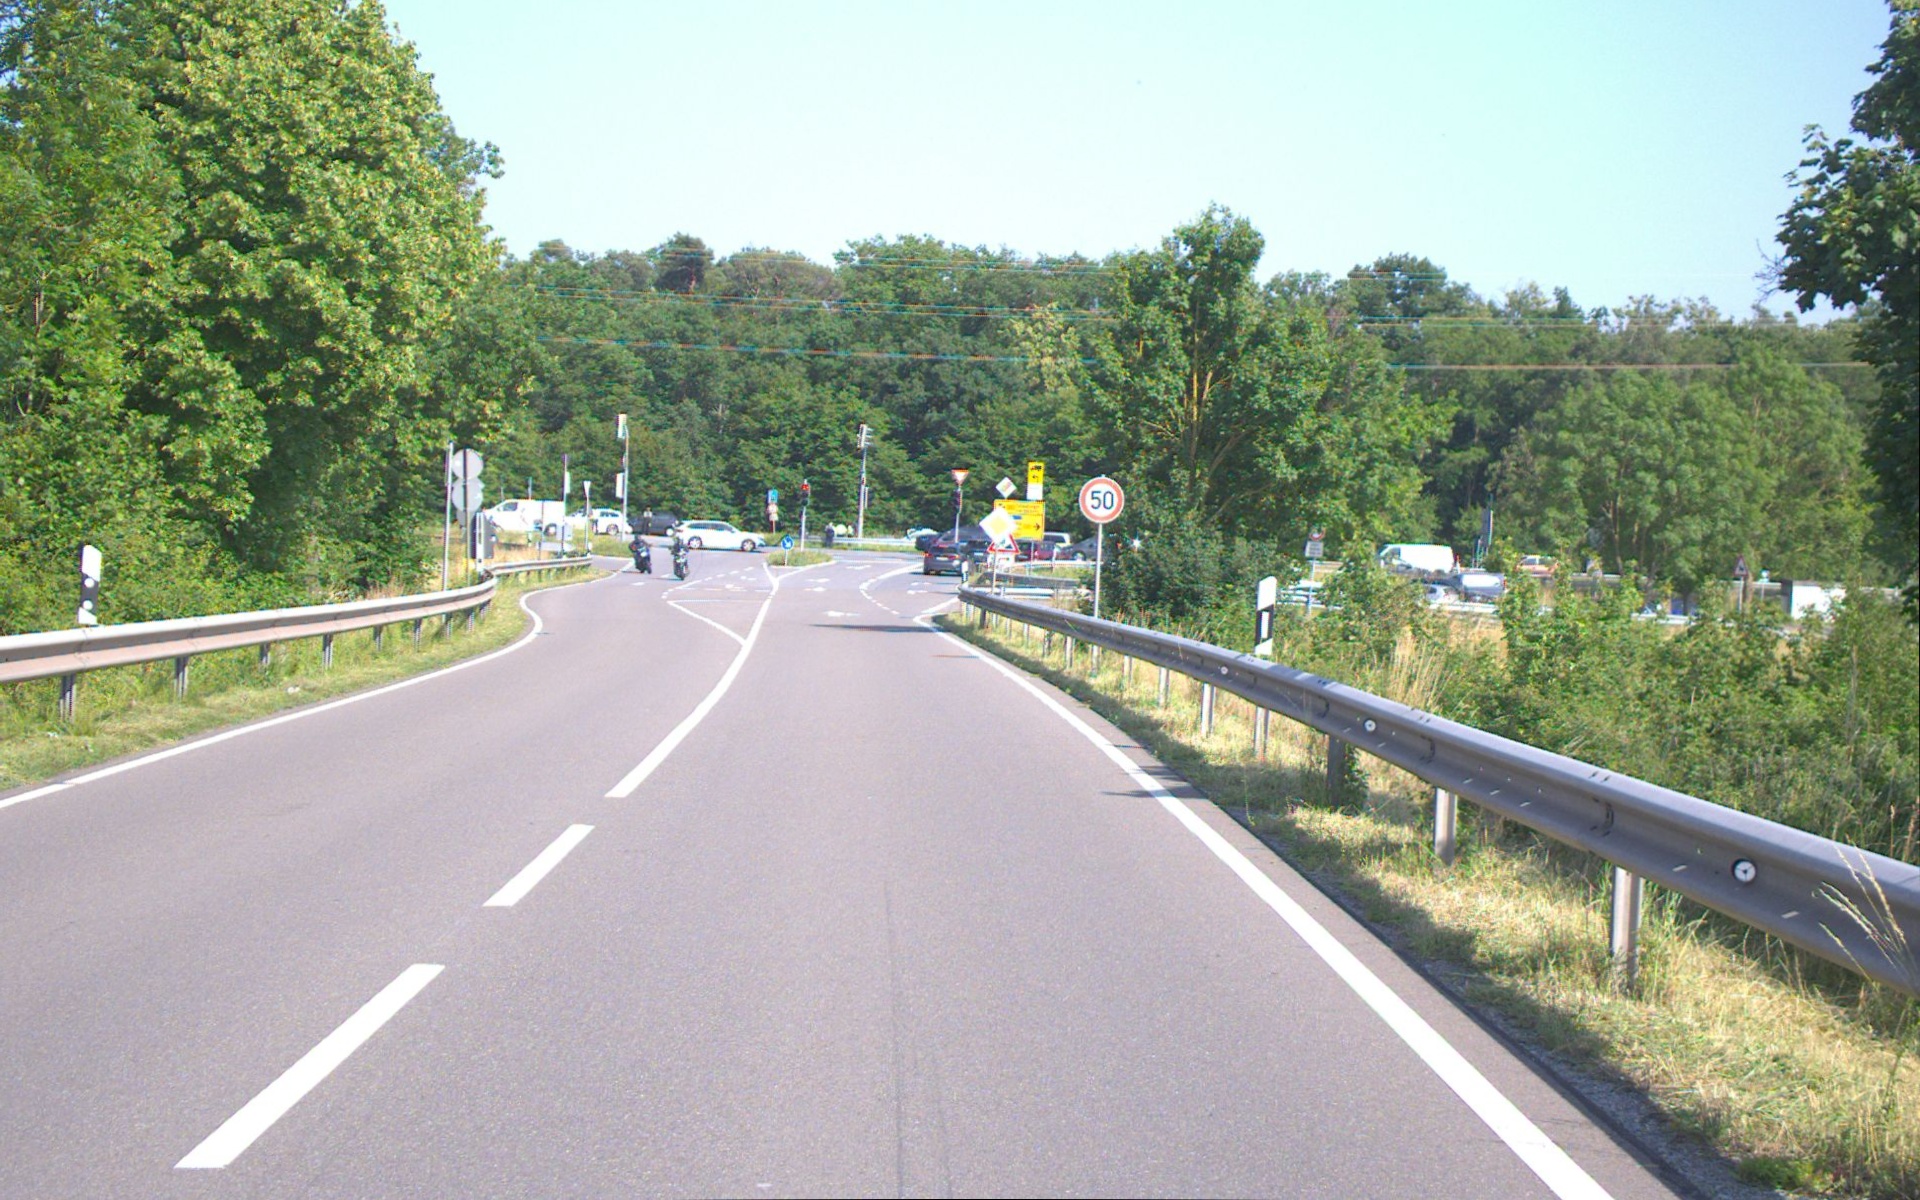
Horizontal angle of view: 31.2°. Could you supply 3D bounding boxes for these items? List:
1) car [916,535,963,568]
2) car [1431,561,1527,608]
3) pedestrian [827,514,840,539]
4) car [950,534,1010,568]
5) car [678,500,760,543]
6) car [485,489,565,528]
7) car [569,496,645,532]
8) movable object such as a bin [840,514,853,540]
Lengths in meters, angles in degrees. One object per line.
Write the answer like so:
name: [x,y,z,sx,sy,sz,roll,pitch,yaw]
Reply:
car: [-0.903,-2.176,153.647,1.799,1.393,4.000,-3,1,4]
car: [24.927,-0.751,165.195,3.996,1.870,1.887,6,2,38]
pedestrian: [-7.036,-4.073,191.429,0.524,1.386,0.513,1,1,25]
car: [0.957,-2.280,161.126,1.801,1.495,3.997,3,1,15]
car: [-12.211,-3.965,174.031,3.986,2.006,1.801,2,2,-6]
car: [-23.080,-4.833,182.330,3.986,2.007,2.001,0,1,-15]
car: [-20.296,-4.918,197.475,3.986,2.007,1.796,0,1,-23]
movable object such as a bin: [-6.333,-4.081,192.067,0.602,1.483,0.732,1,1,6]
